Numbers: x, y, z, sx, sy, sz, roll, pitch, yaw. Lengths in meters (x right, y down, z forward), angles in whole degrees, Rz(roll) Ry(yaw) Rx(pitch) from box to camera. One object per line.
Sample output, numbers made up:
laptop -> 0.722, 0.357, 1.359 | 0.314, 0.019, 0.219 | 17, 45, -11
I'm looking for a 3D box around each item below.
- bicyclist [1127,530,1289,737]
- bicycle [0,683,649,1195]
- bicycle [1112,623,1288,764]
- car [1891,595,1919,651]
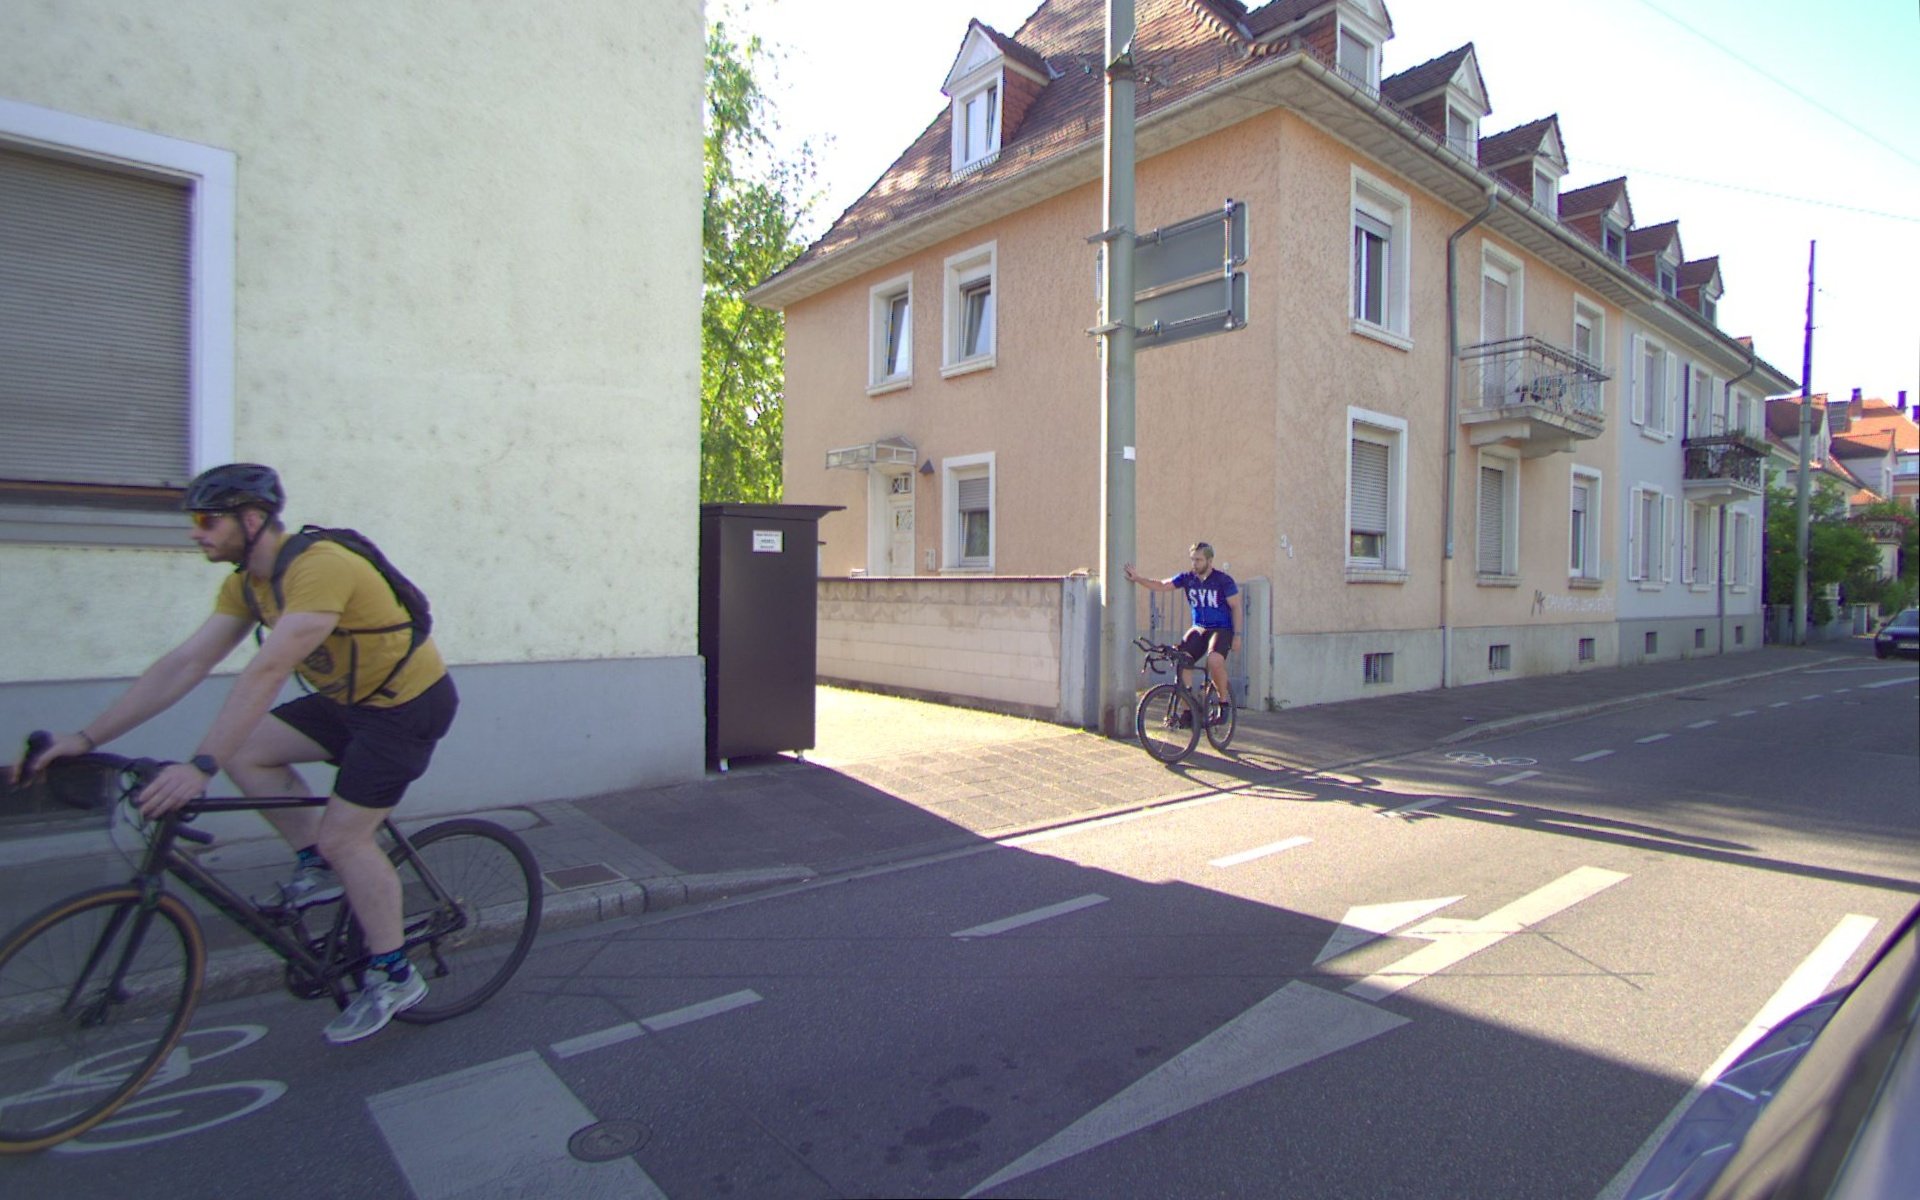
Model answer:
bicyclist -> 2.313, 0.268, 9.500 | 0.838, 1.758, 1.072 | 0, 6, -40
bicycle -> -1.962, 0.892, 3.198 | 1.778, 1.101, 0.611 | 0, 1, -41
bicycle -> 2.180, 0.786, 9.084 | 1.689, 1.064, 0.595 | 0, 6, -41
car -> 26.630, 0.602, 27.322 | 3.932, 1.438, 1.845 | 0, 1, -42
